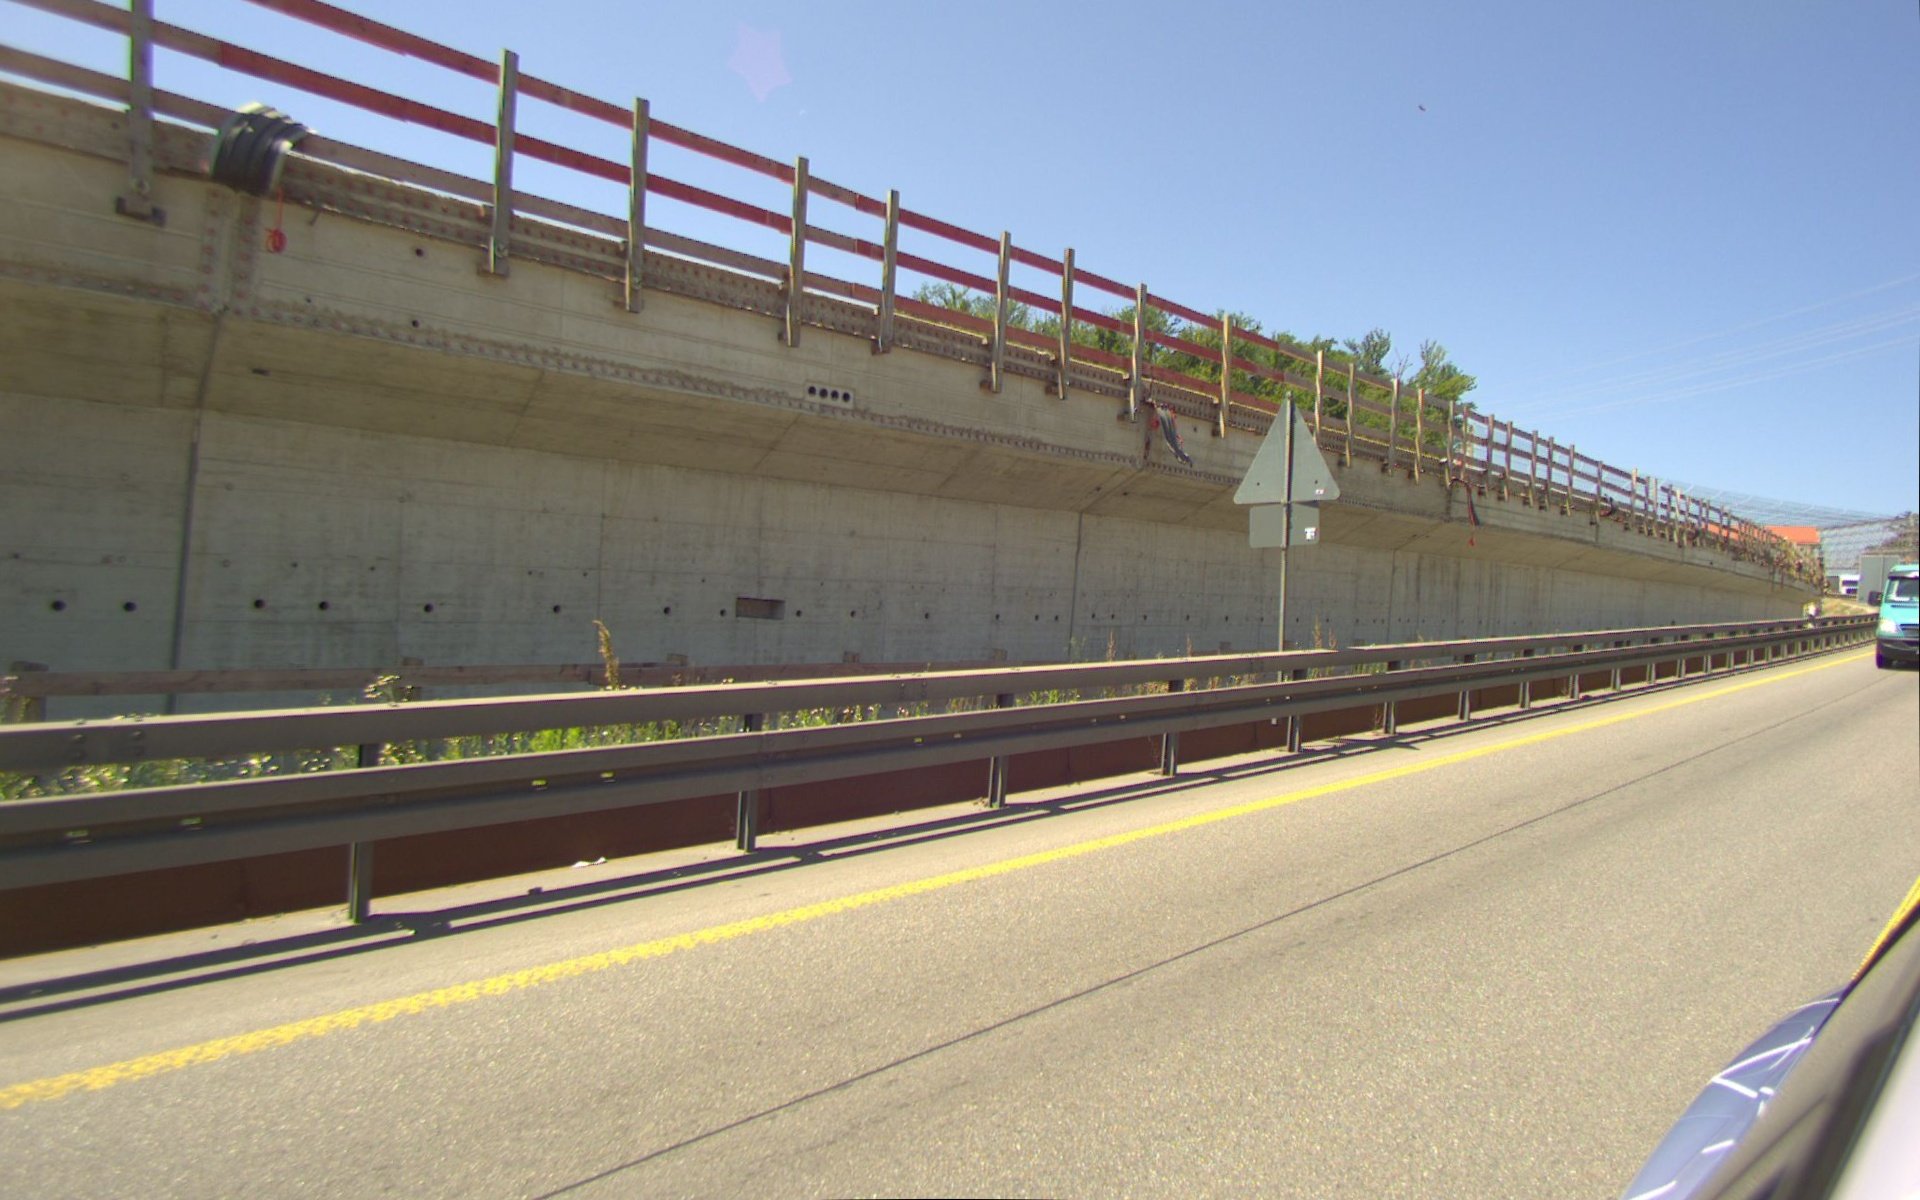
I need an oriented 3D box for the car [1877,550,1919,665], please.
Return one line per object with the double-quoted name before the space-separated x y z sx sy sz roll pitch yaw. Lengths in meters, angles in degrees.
"car" 22.306 0.114 22.695 6.790 2.355 2.213 -1 2 -45
